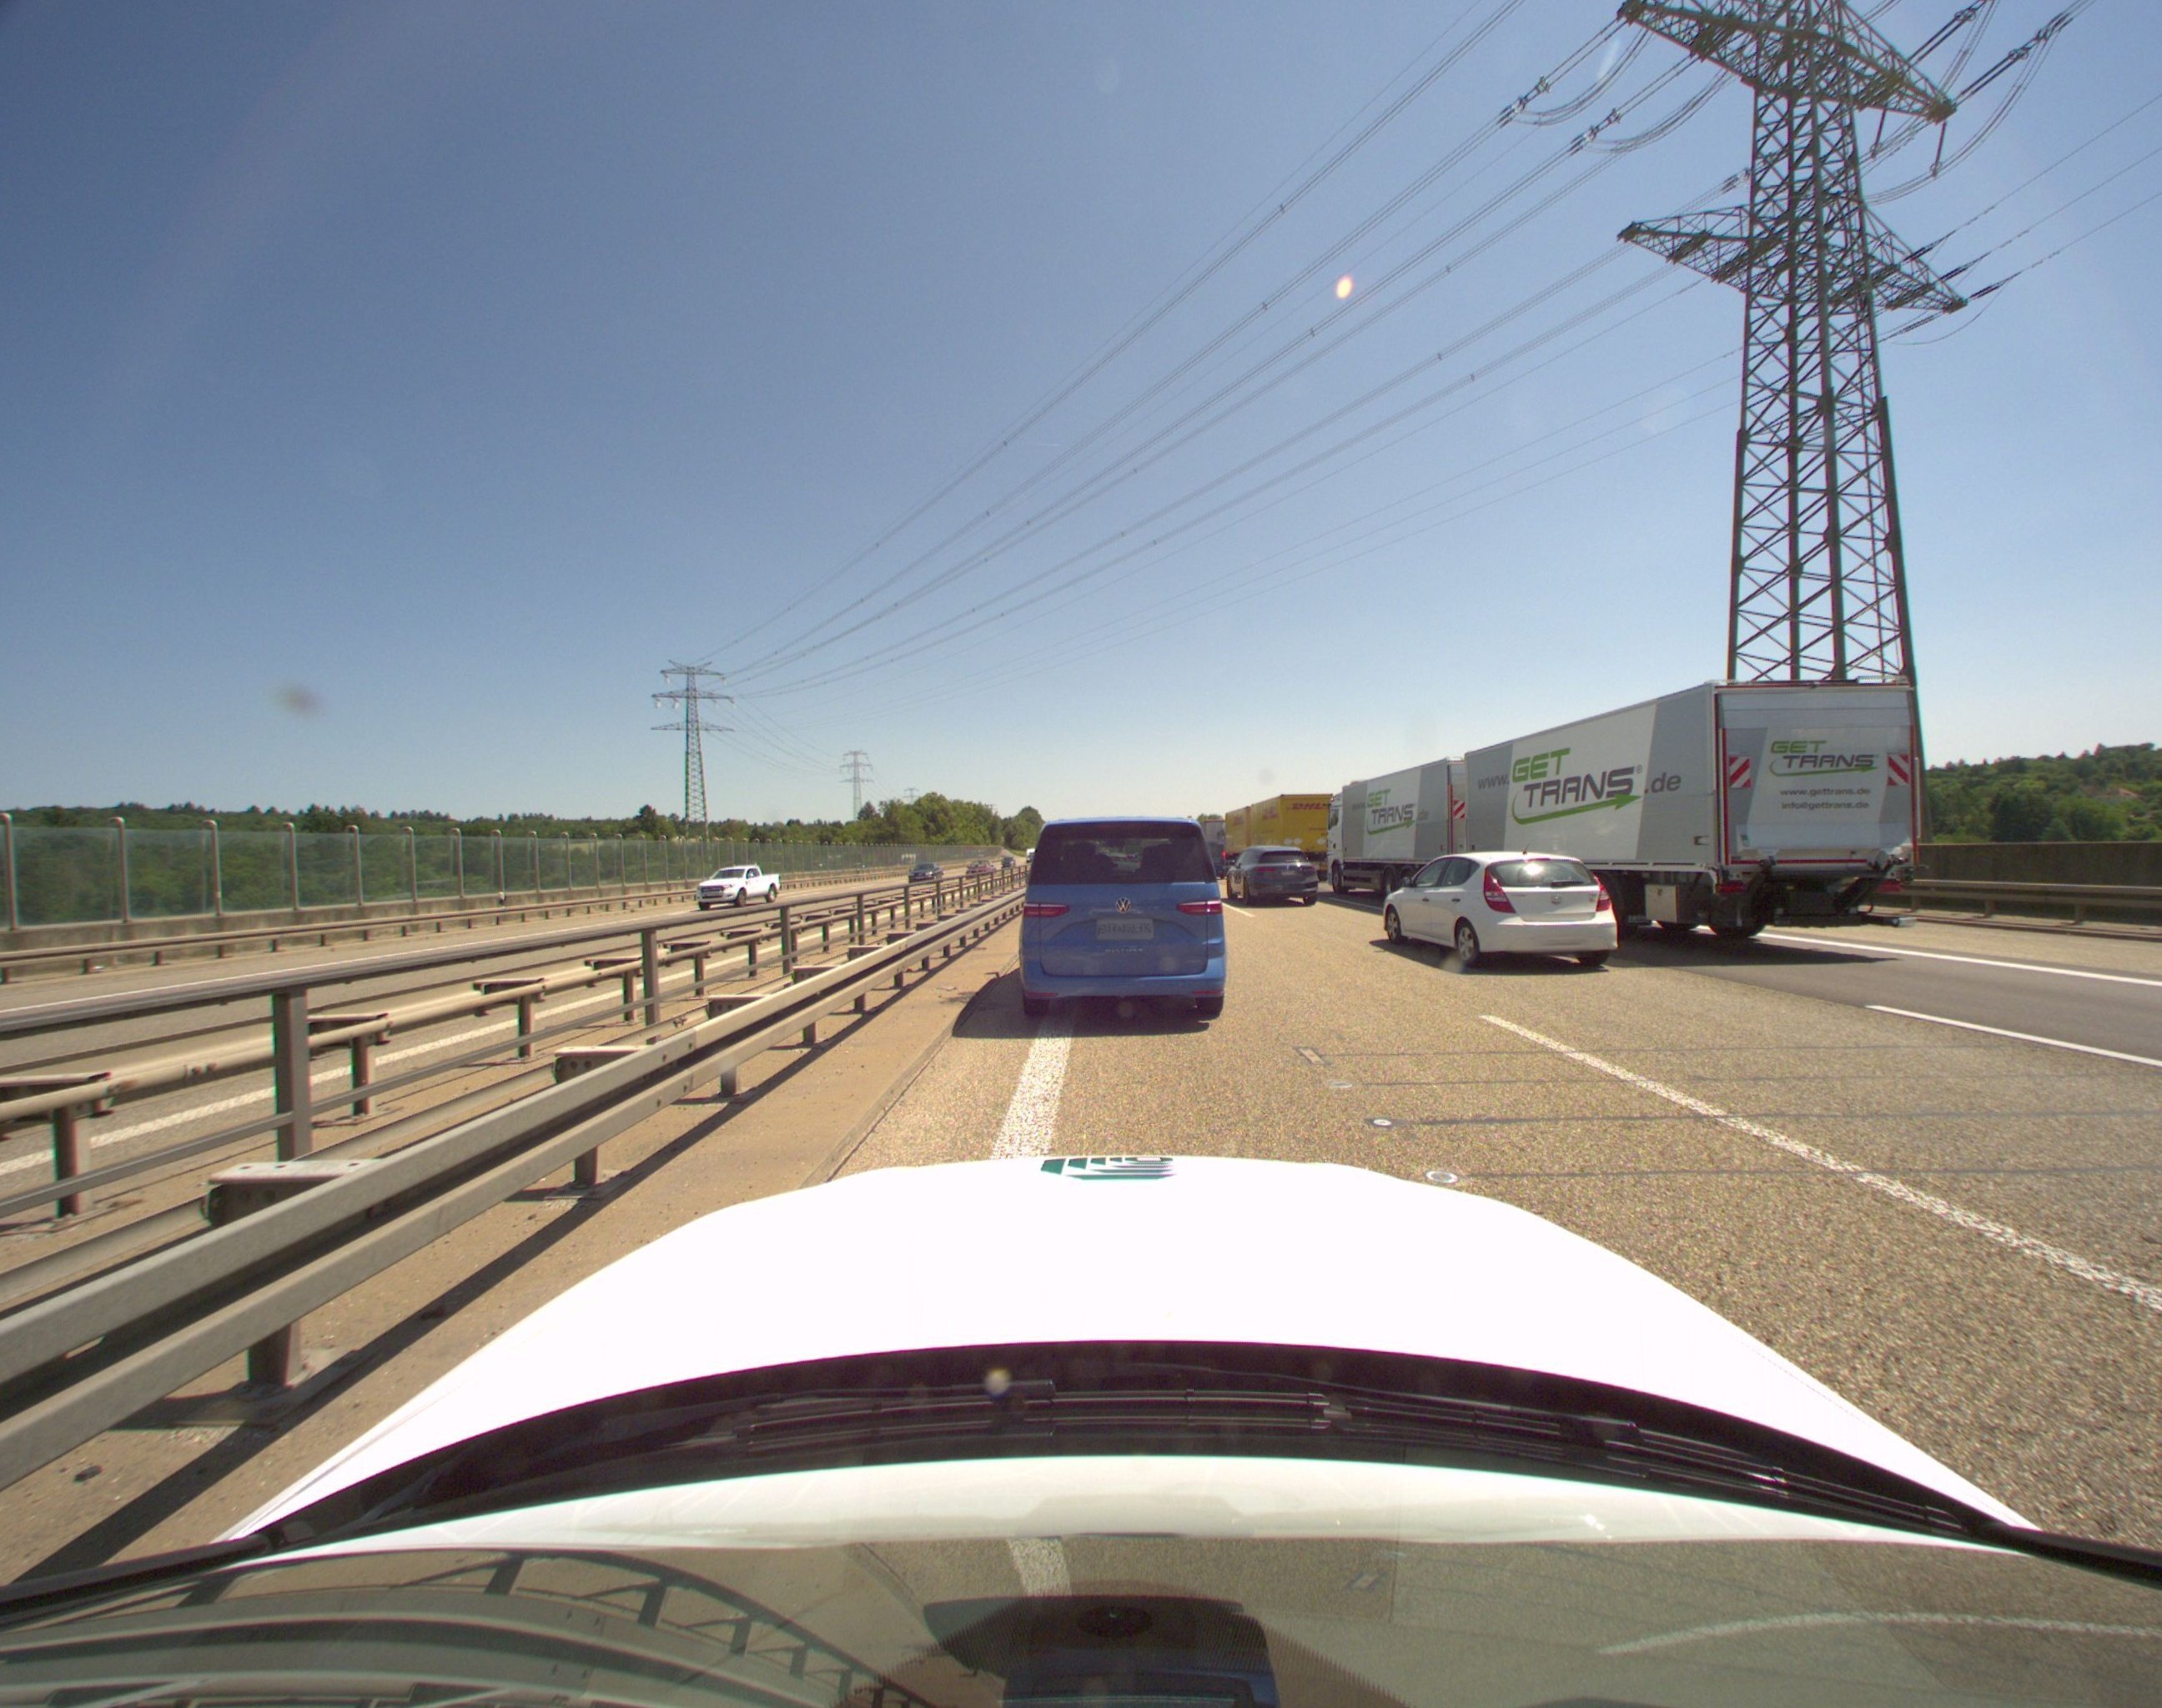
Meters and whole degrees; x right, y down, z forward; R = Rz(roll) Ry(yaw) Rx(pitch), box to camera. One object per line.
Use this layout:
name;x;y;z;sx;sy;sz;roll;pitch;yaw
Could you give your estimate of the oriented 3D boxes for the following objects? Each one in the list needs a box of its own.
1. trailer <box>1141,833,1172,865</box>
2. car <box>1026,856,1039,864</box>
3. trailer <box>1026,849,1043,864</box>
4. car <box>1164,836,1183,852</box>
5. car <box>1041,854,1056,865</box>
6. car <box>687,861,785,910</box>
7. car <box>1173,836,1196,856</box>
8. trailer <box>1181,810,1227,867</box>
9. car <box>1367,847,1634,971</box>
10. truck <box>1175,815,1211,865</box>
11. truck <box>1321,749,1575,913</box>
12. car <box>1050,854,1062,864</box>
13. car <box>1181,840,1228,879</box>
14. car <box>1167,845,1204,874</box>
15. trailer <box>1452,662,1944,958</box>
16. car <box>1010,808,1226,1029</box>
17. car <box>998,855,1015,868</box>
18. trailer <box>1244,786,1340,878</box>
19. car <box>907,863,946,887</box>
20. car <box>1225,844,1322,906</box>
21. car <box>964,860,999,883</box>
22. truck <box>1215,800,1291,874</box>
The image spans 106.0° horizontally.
trailer;7.575;-0.437;83.213;2.559;2.990;10.668;-1;0;2
car;-8.580;1.042;143.204;1.769;1.407;4.684;-4;0;2
trailer;-8.467;0.481;148.947;2.484;2.549;6.777;-3;0;2
car;11.935;-1.281;104.997;1.986;2.013;4.463;-2;0;2
car;-4.750;0.835;118.528;1.784;1.478;3.991;-5;0;2
car;-15.440;1.354;36.806;1.986;1.885;5.257;-3;0;1
car;11.060;-0.846;87.269;1.986;2.014;4.002;-1;0;2
trailer;10.430;-1.229;70.097;2.627;4.516;11.306;-1;0;2
car;5.797;0.655;11.929;1.782;1.455;4.295;-1;0;2
truck;10.630;-1.241;77.621;2.657;4.484;6.853;-1;0;2
truck;9.922;-0.538;23.911;2.647;3.648;11.014;-1;0;1
car;-4.266;0.809;138.873;1.662;1.448;4.003;-5;0;3
car;6.637;0.271;44.072;1.954;1.993;4.295;-1;0;2
car;6.782;0.327;53.352;1.986;1.816;4.002;-1;0;2
trailer;9.686;-0.578;14.383;2.688;3.700;8.017;-1;0;1
car;0.383;0.554;8.961;1.813;1.857;4.076;-1;0;2
car;-9.708;0.996;106.431;1.723;1.491;4.421;-4;0;1
trailer;10.604;-0.999;42.007;2.854;4.239;9.015;-1;0;2
car;-10.294;1.371;54.420;1.591;1.350;4.181;-4;0;2
car;5.590;0.570;24.239;1.954;1.644;4.295;-1;0;2
car;-6.563;1.149;54.046;1.592;1.317;4.343;-4;0;1
truck;10.735;-0.961;52.086;2.826;4.243;11.014;-1;0;1
